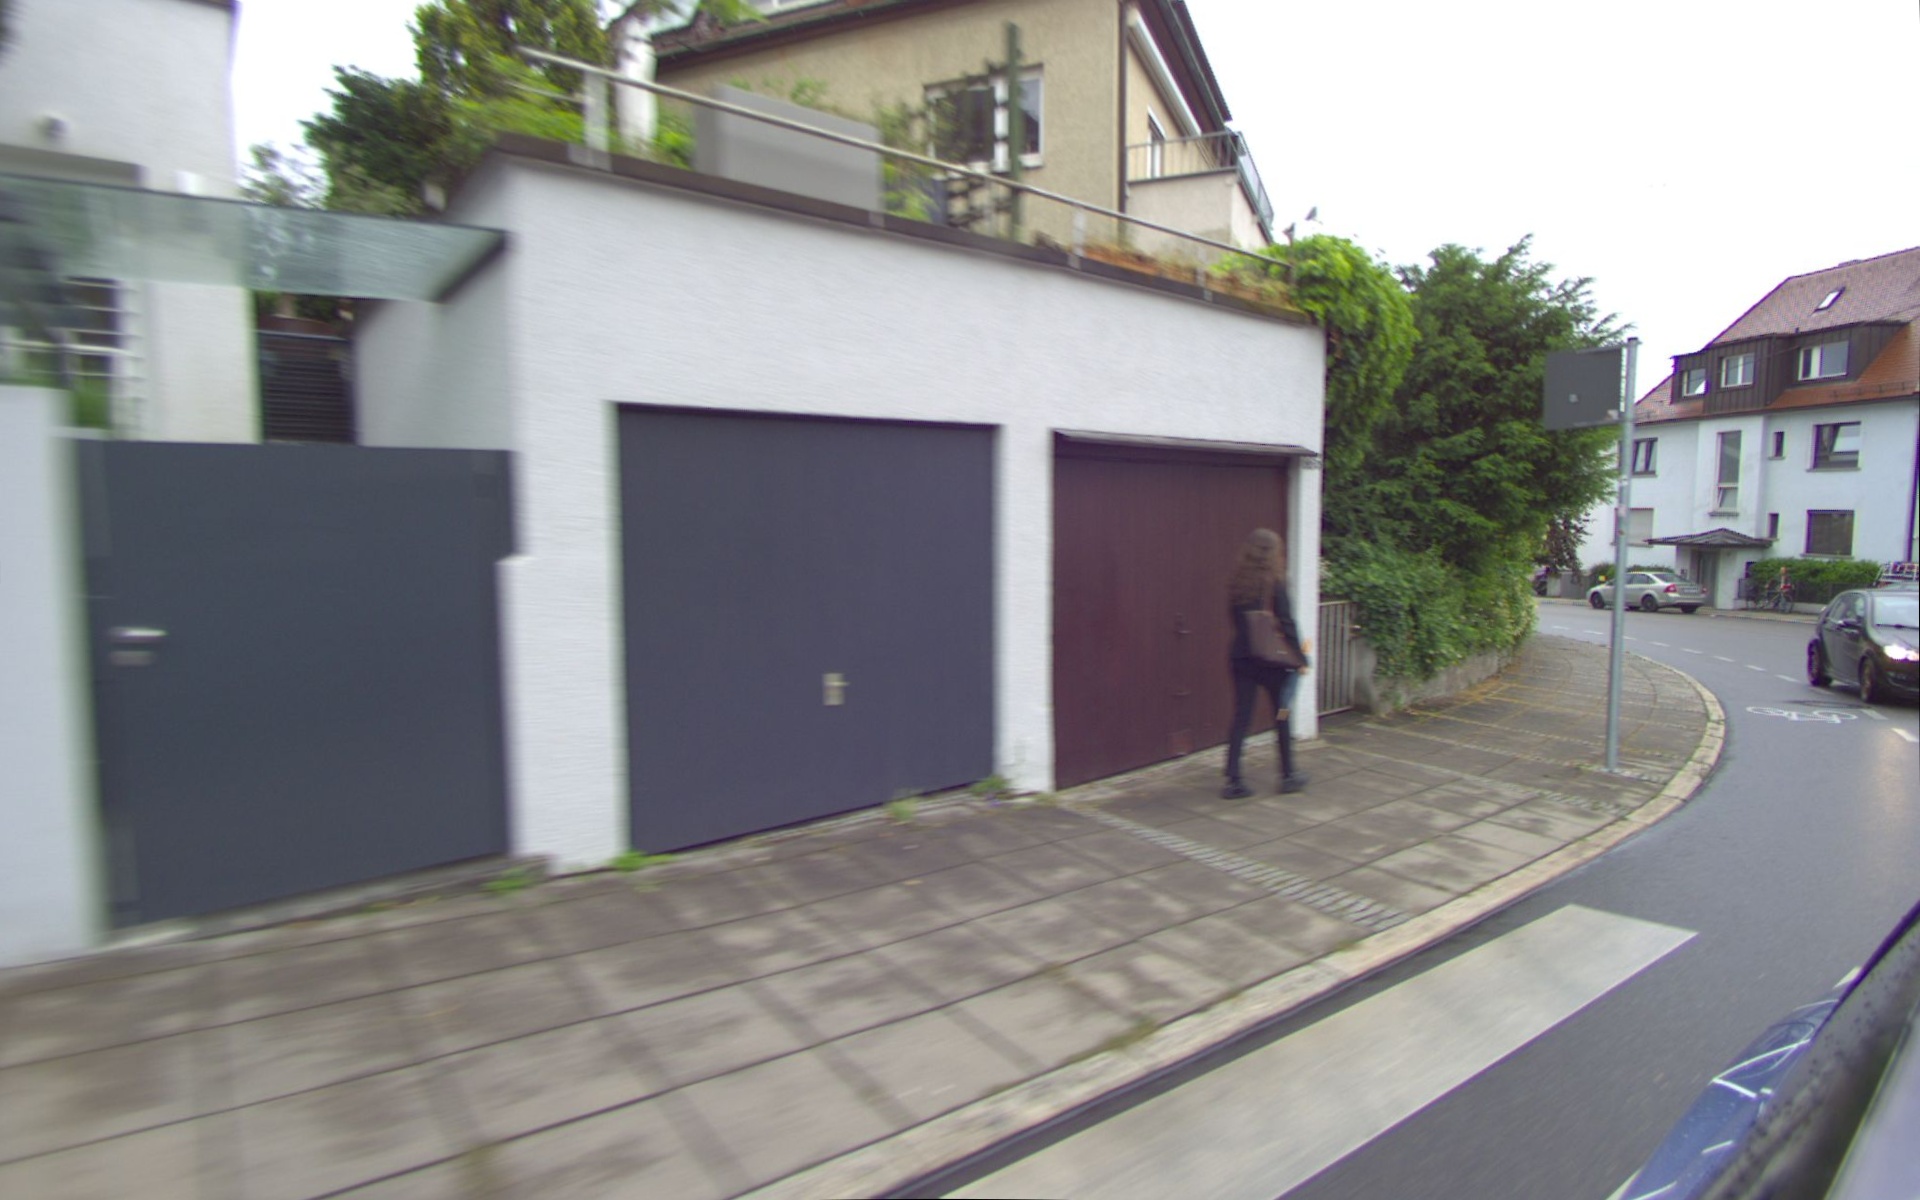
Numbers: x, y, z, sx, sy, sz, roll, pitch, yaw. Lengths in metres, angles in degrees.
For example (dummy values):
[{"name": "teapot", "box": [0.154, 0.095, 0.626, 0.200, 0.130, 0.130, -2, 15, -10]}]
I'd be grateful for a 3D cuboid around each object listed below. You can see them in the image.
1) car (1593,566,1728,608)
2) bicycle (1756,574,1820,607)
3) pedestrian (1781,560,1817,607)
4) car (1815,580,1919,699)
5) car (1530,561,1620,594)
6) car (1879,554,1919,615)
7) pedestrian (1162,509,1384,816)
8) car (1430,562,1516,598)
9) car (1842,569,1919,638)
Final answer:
[{"name": "car", "box": [26.106, -0.548, 37.908, 1.805, 1.442, 4.236, 0, 2, -6]}, {"name": "bicycle", "box": [28.944, -0.340, 35.418, 0.448, 1.080, 1.925, -2, 2, -9]}, {"name": "pedestrian", "box": [29.573, -0.583, 35.674, 0.928, 1.596, 0.495, -2, 2, -10]}, {"name": "car", "box": [12.903, 0.450, 13.449, 1.667, 1.430, 3.600, 1, 1, 29]}, {"name": "car", "box": [32.061, -1.185, 52.766, 3.915, 1.369, 1.747, 4, 3, -18]}, {"name": "car", "box": [31.161, -0.368, 31.061, 3.925, 1.845, 2.000, 3, 2, 1]}, {"name": "pedestrian", "box": [1.970, 0.326, 6.379, 1.041, 1.742, 0.806, -1, 5, -39]}, {"name": "car", "box": [21.892, -0.871, 43.327, 1.462, 1.441, 3.861, -1, 2, -5]}, {"name": "car", "box": [22.033, 0.131, 22.233, 1.847, 1.510, 4.623, 3, 2, 11]}]
